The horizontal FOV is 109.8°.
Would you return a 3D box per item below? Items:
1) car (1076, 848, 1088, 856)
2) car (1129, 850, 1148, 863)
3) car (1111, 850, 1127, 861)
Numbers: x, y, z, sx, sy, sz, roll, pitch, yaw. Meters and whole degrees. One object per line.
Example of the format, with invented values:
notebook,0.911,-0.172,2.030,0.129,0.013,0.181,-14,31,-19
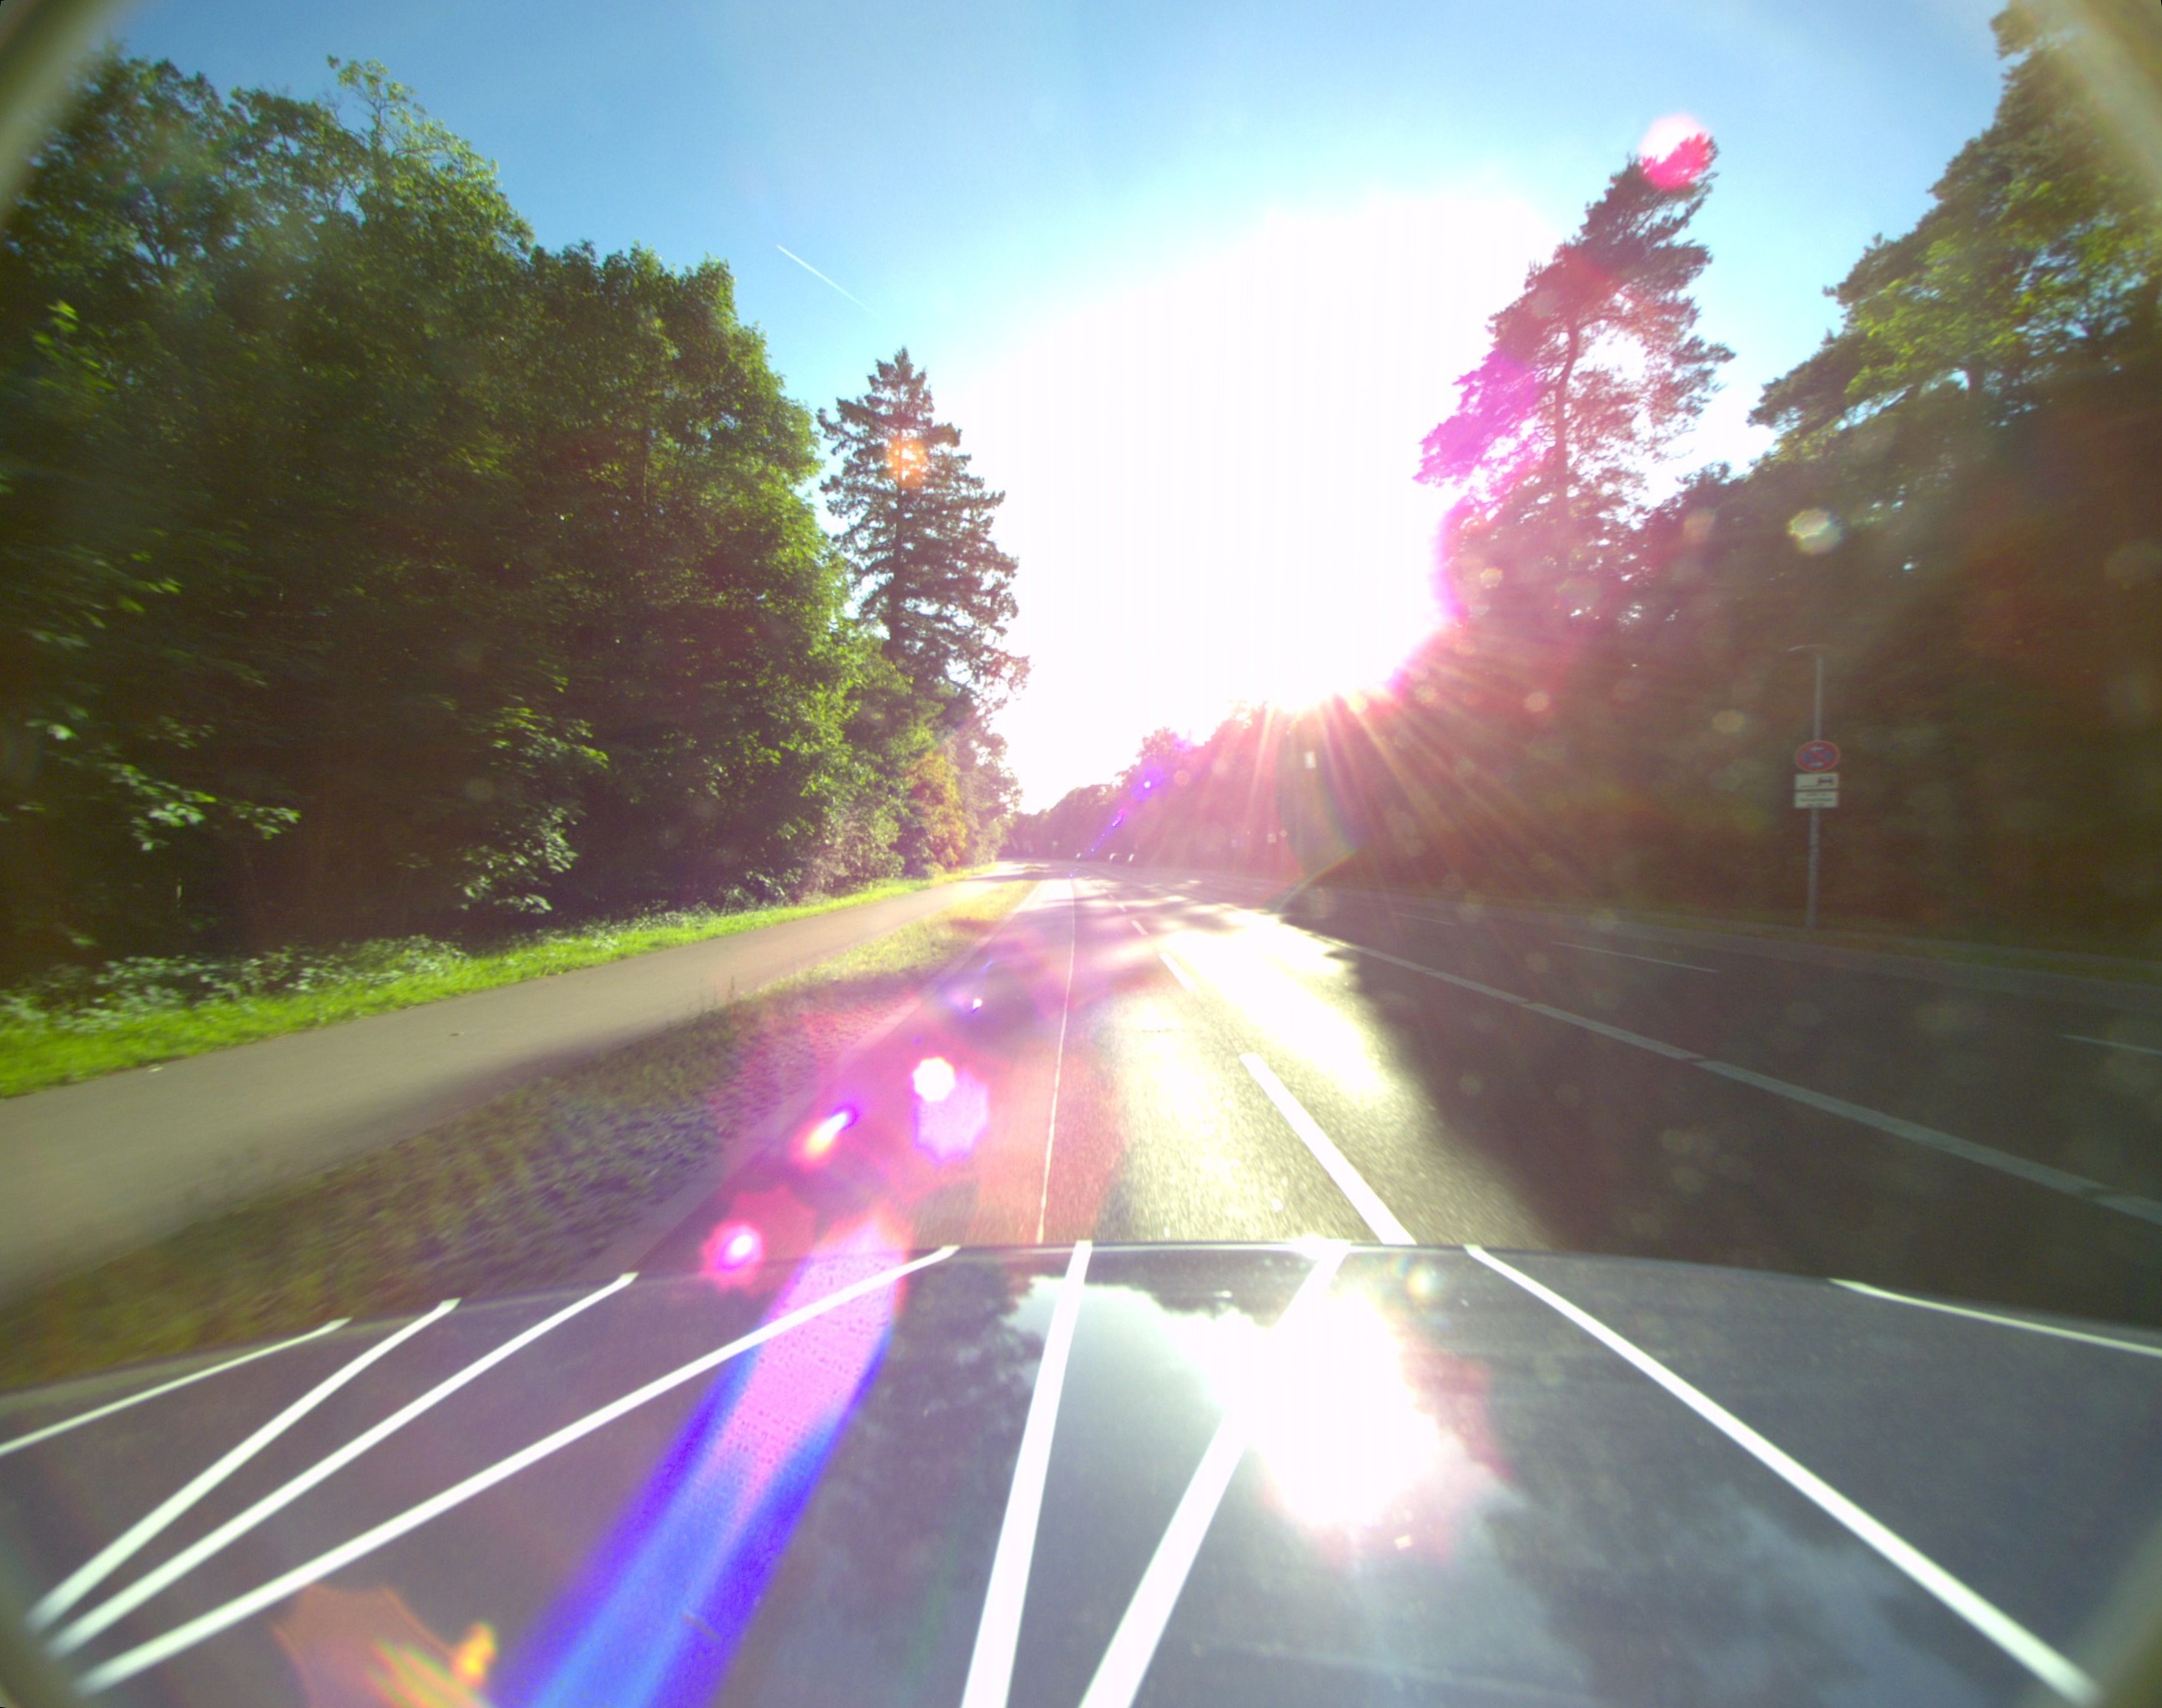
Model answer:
car,0.085,-0.414,148.620,1.901,1.601,4.446,0,1,-6
car,6.586,0.296,87.094,1.662,1.472,4.171,-1,0,-2
car,5.189,0.165,104.491,1.744,1.449,3.997,-3,1,-4
